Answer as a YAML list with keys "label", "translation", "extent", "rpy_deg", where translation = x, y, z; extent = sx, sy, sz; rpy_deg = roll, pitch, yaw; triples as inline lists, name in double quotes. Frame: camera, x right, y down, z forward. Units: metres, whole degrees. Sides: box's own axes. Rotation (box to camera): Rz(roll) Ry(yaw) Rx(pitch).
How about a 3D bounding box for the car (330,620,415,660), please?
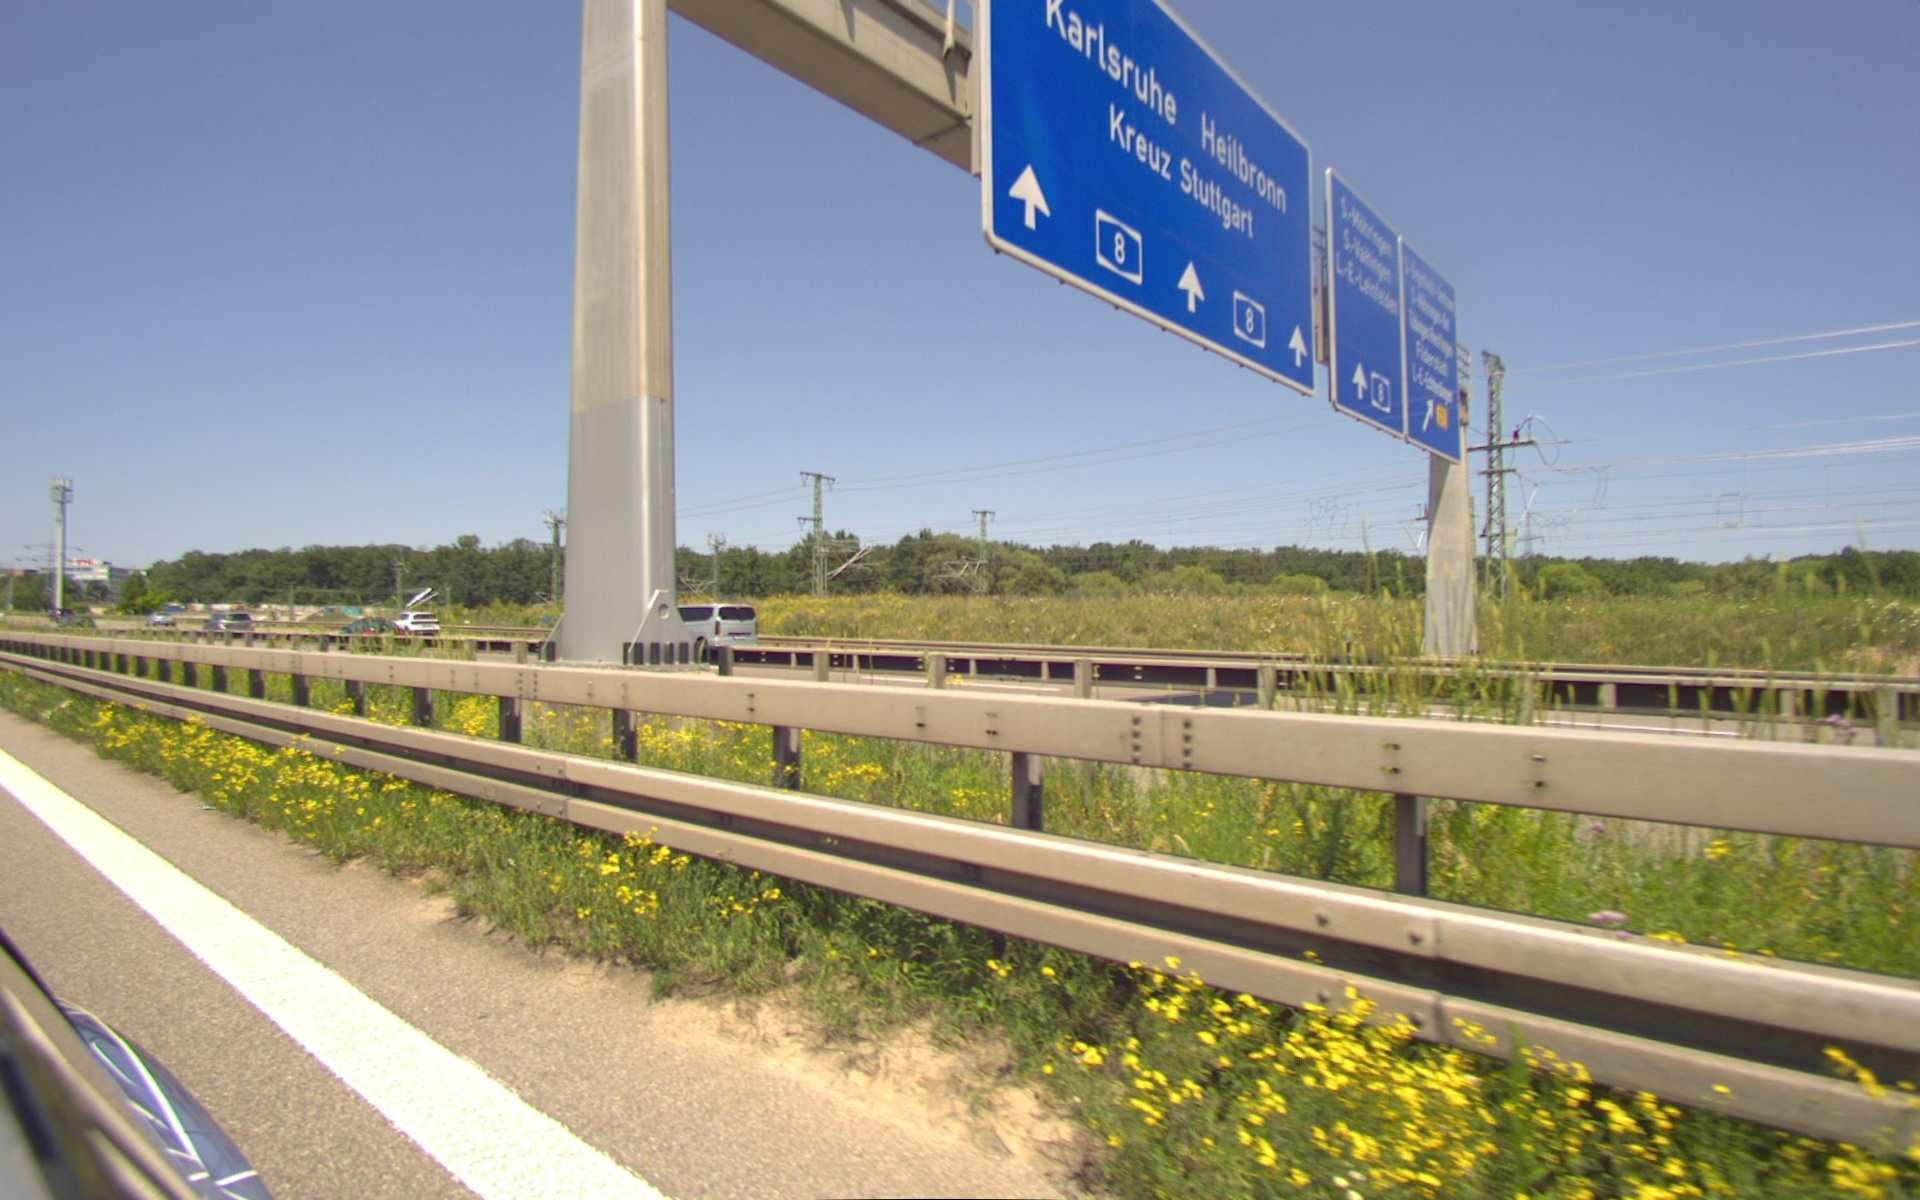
- label: "car"
  translation: [-25.366, 1.685, 43.615]
  extent: [4.477, 1.588, 1.972]
  rpy_deg: [-1, -1, 43]

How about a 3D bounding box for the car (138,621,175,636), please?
- label: "car"
  translation: [-76.426, 2.701, 96.266]
  extent: [4.160, 1.321, 1.973]
  rpy_deg: [-1, -1, 40]

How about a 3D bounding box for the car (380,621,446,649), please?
- label: "car"
  translation: [-31.986, 2.007, 59.144]
  extent: [4.475, 1.588, 1.973]
  rpy_deg: [-1, -1, 41]

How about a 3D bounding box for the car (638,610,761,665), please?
- label: "car"
  translation: [-9.733, 1.376, 37.600]
  extent: [4.975, 1.900, 1.972]
  rpy_deg: [-2, -1, 42]

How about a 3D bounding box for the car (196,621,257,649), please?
- label: "car"
  translation: [-43.237, 2.034, 59.629]
  extent: [4.475, 1.588, 1.973]
  rpy_deg: [-1, -1, 41]

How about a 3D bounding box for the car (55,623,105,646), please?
- label: "car"
  translation: [-60.511, 2.364, 69.572]
  extent: [4.473, 1.495, 1.909]
  rpy_deg: [-1, -1, 40]

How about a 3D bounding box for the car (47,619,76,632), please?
- label: "car"
  translation: [-108.568, 3.071, 122.280]
  extent: [4.932, 1.609, 1.973]
  rpy_deg: [-1, -1, 41]
